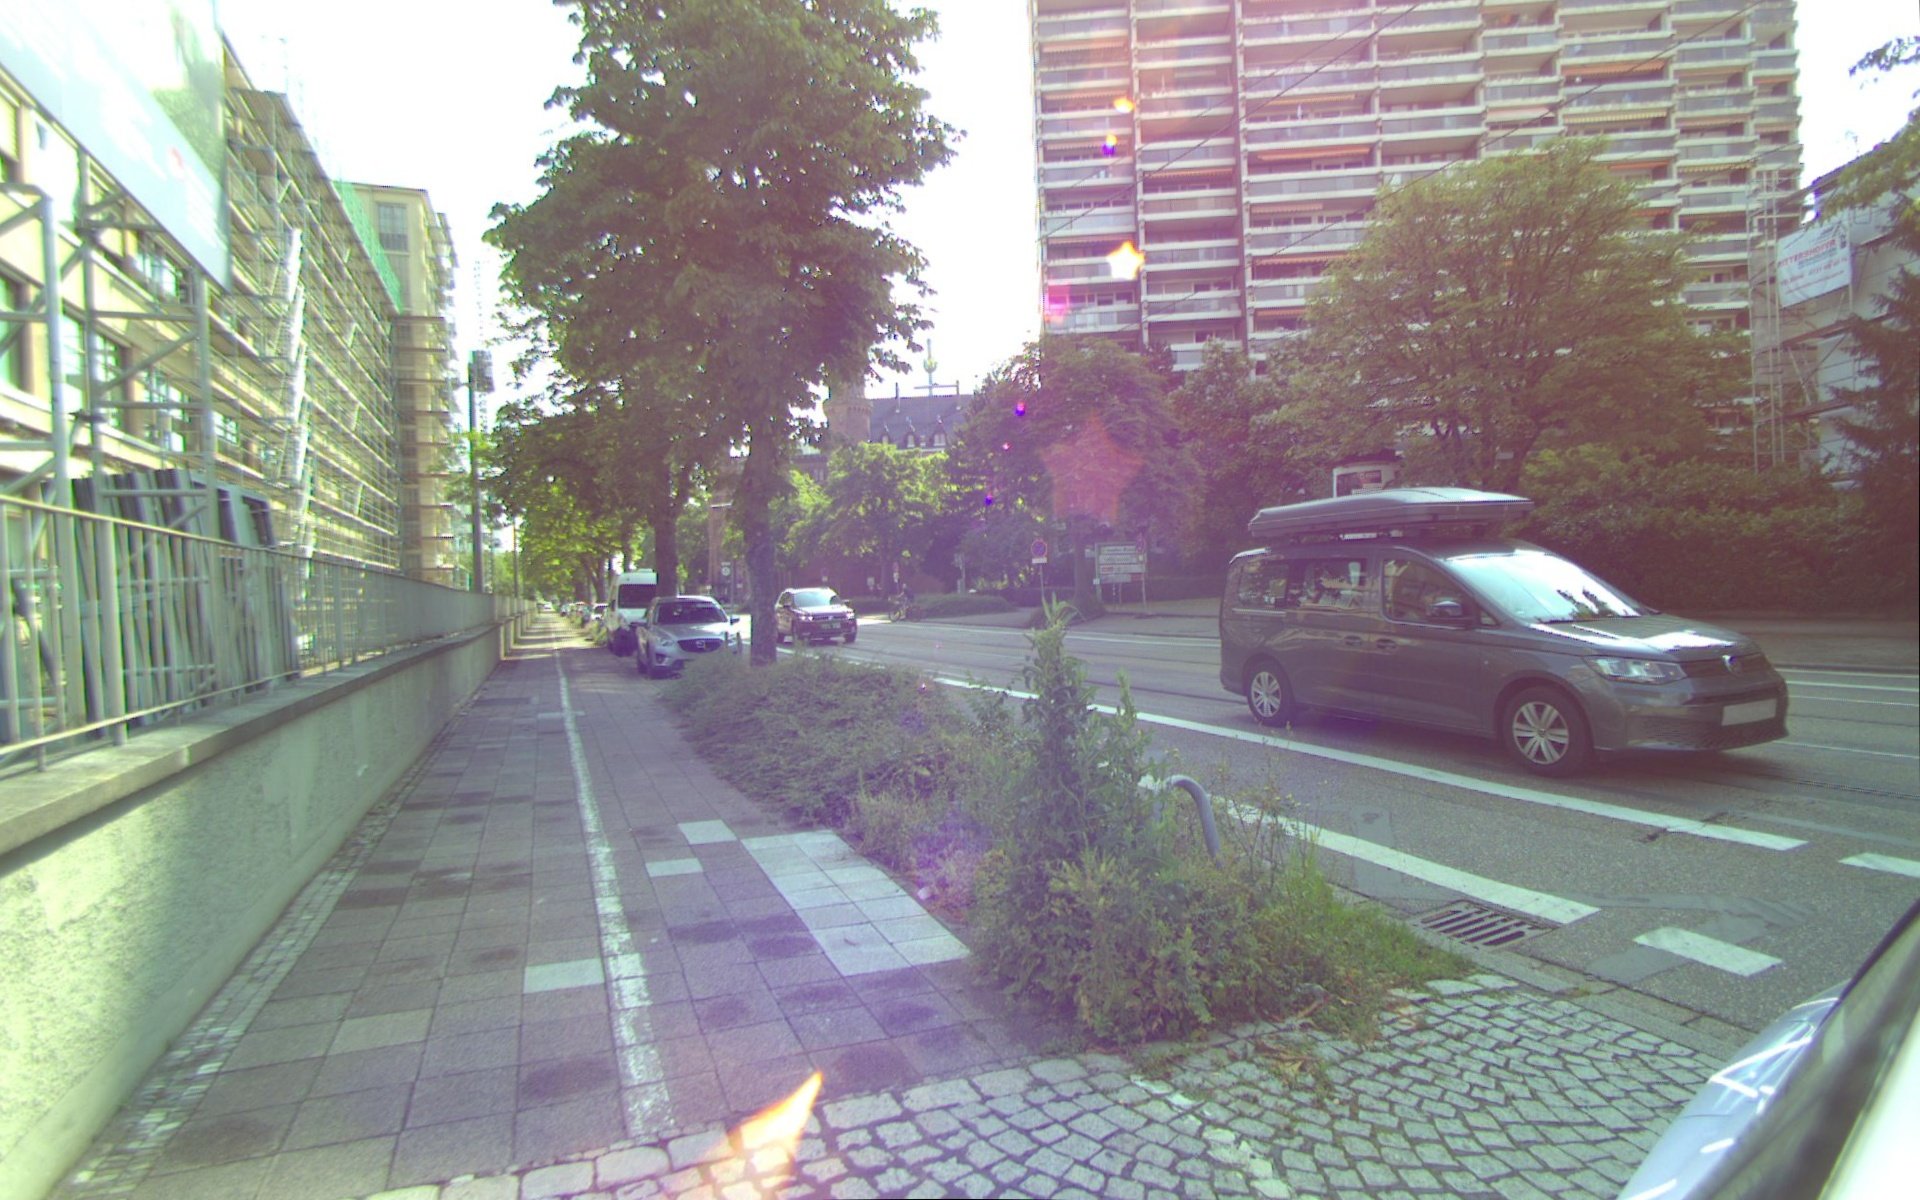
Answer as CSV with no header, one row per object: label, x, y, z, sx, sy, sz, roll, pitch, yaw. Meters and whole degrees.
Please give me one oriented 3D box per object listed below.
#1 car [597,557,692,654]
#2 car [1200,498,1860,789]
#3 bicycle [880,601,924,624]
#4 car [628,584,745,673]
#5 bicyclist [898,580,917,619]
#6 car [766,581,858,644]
car,-9.842,0.178,31.208,2.085,2.600,5.930,4,-2,-23
car,4.385,0.228,8.860,1.907,1.796,4.846,-2,1,-23
bicycle,-2.660,0.565,46.487,1.949,0.993,0.568,1,-1,7
car,-5.826,0.601,21.206,1.734,1.628,4.465,3,-3,-23
bicyclist,-2.412,-0.006,46.470,0.713,1.762,0.780,1,-1,6
car,-4.500,0.325,30.339,1.645,1.631,3.978,-5,2,-23
